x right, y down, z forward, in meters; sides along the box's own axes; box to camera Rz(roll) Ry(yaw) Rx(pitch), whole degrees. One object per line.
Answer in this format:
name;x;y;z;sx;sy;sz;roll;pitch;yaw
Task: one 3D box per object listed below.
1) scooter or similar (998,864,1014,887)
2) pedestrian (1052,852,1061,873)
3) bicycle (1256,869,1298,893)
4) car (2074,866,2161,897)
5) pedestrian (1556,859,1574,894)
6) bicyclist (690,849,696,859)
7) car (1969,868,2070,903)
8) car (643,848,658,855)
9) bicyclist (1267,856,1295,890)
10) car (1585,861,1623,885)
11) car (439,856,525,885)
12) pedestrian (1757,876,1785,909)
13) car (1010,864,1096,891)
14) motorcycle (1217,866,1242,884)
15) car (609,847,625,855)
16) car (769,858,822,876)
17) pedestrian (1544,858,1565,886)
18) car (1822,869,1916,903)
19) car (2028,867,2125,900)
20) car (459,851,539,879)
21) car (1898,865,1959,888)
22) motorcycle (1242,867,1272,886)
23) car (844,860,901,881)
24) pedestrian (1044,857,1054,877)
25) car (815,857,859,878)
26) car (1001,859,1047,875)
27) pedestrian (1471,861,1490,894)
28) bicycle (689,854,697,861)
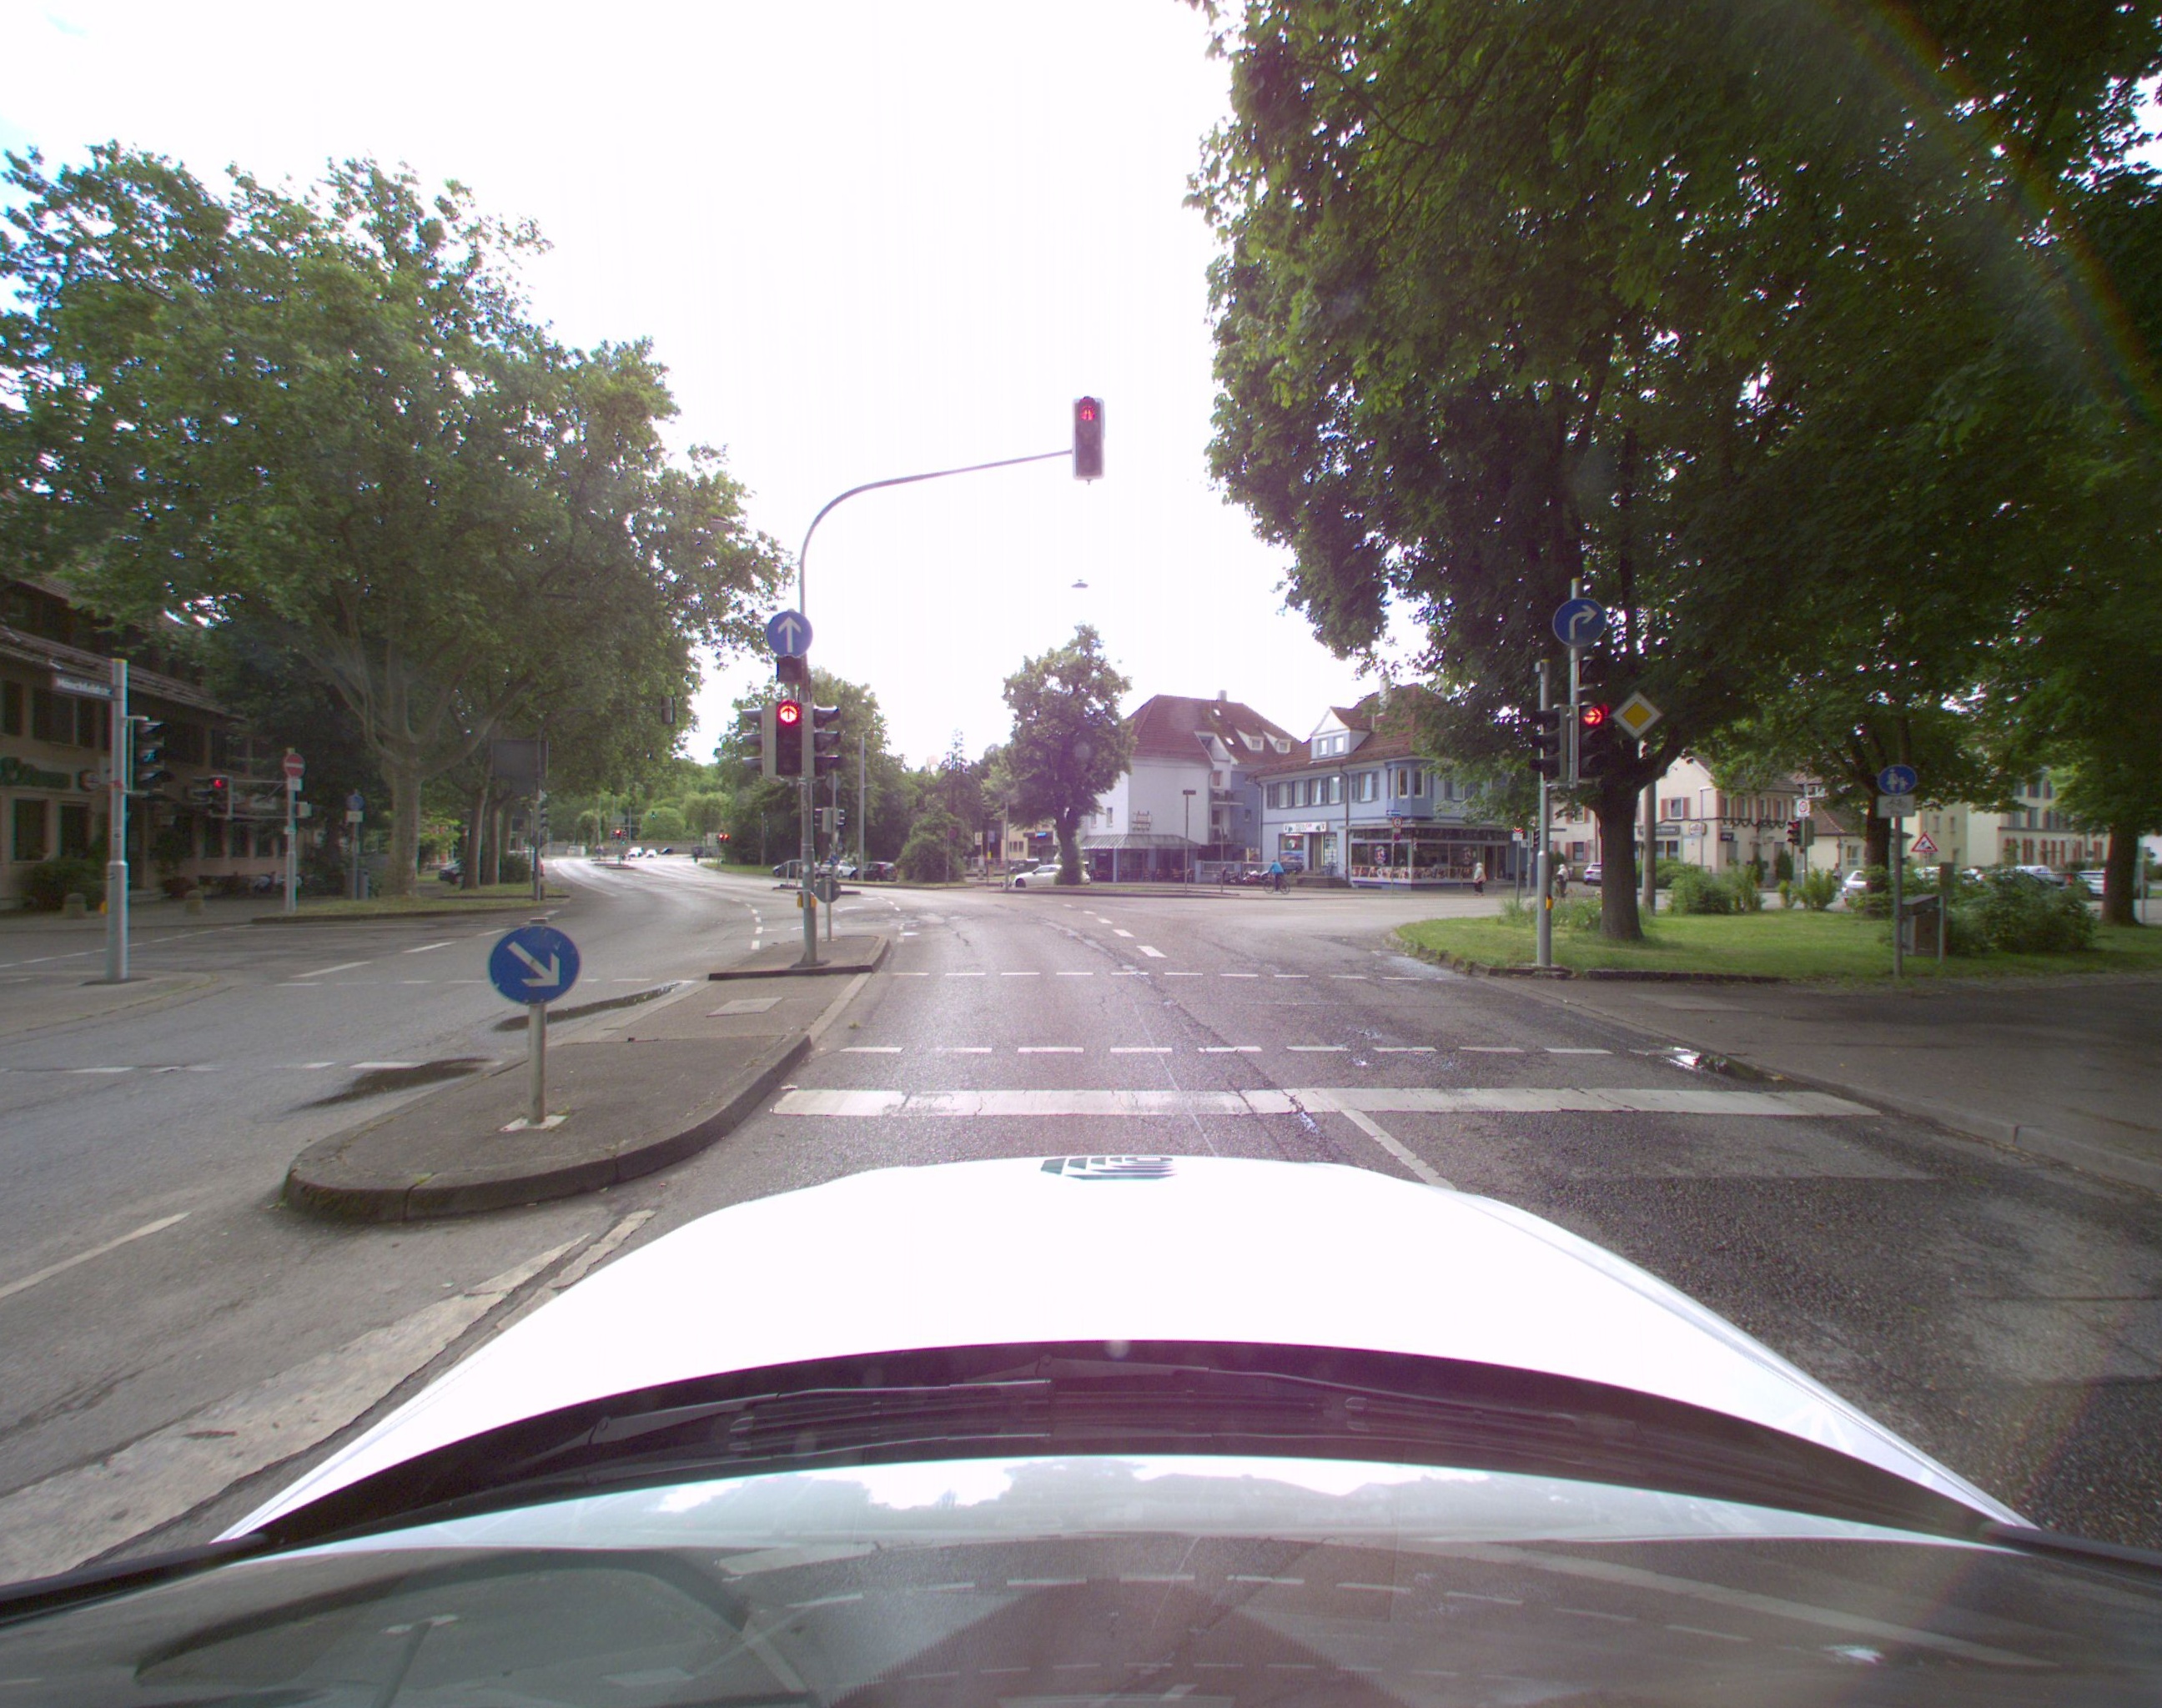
scooter or similar;-3.955;1.137;42.848;0.439;1.175;1.442;-1;-1;11
pedestrian;-1.761;0.616;59.430;0.538;1.560;0.470;-1;-1;15
bicycle;9.823;1.347;40.890;0.880;1.149;1.931;0;-1;-36
car;52.594;1.369;41.259;3.731;1.457;1.640;0;0;-17
pedestrian;22.009;1.022;37.029;0.687;1.560;0.671;-1;-1;33
bicyclist;-50.414;-0.035;105.791;0.541;1.342;0.710;0;-1;-17
car;42.344;1.379;36.758;3.731;1.457;1.640;0;0;-17
car;-83.204;-0.464;157.368;2.988;1.417;1.509;-1;-2;43
bicyclist;9.984;0.939;40.724;0.922;1.651;0.978;0;-1;-36
car;32.455;1.138;50.625;1.866;1.391;3.637;0;0;31
car;-35.633;0.952;48.608;4.015;1.684;1.979;0;-1;-34
pedestrian;22.832;1.259;26.951;0.505;1.081;0.514;0;-1;-13
car;-1.597;1.283;45.935;4.654;1.410;1.914;0;-1;37
motorcycle;9.132;1.305;50.050;1.441;1.088;0.527;-1;-1;37
car;-87.322;-0.506;153.175;3.293;1.486;1.594;-1;-2;43
car;-22.593;1.022;64.517;3.742;1.465;1.629;0;0;20
pedestrian;26.475;0.985;45.565;0.671;1.560;0.743;0;-1;-13
car;31.910;1.267;33.002;3.007;1.267;1.455;0;-1;-17
car;47.078;1.370;38.521;3.731;1.457;1.640;0;0;-17
car;-36.463;0.676;51.177;4.015;1.684;1.979;0;-1;-34
car;55.463;1.432;53.293;3.871;1.447;1.753;0;-1;-28
motorcycle;10.425;1.316;48.248;1.609;1.088;0.631;-1;-1;34
car;-13.829;1.051;54.003;3.285;1.352;1.791;0;0;29
pedestrian;-3.223;1.292;81.036;0.838;2.014;1.051;0;-1;-12
car;-20.139;1.080;67.409;1.848;1.640;3.768;0;0;13
car;-5.324;1.228;75.920;3.948;1.442;1.742;0;0;-18
pedestrian;18.937;1.116;38.606;0.724;1.560;0.773;-1;-1;33
bicycle;-50.447;0.470;105.900;0.557;0.958;2.021;0;0;-17
